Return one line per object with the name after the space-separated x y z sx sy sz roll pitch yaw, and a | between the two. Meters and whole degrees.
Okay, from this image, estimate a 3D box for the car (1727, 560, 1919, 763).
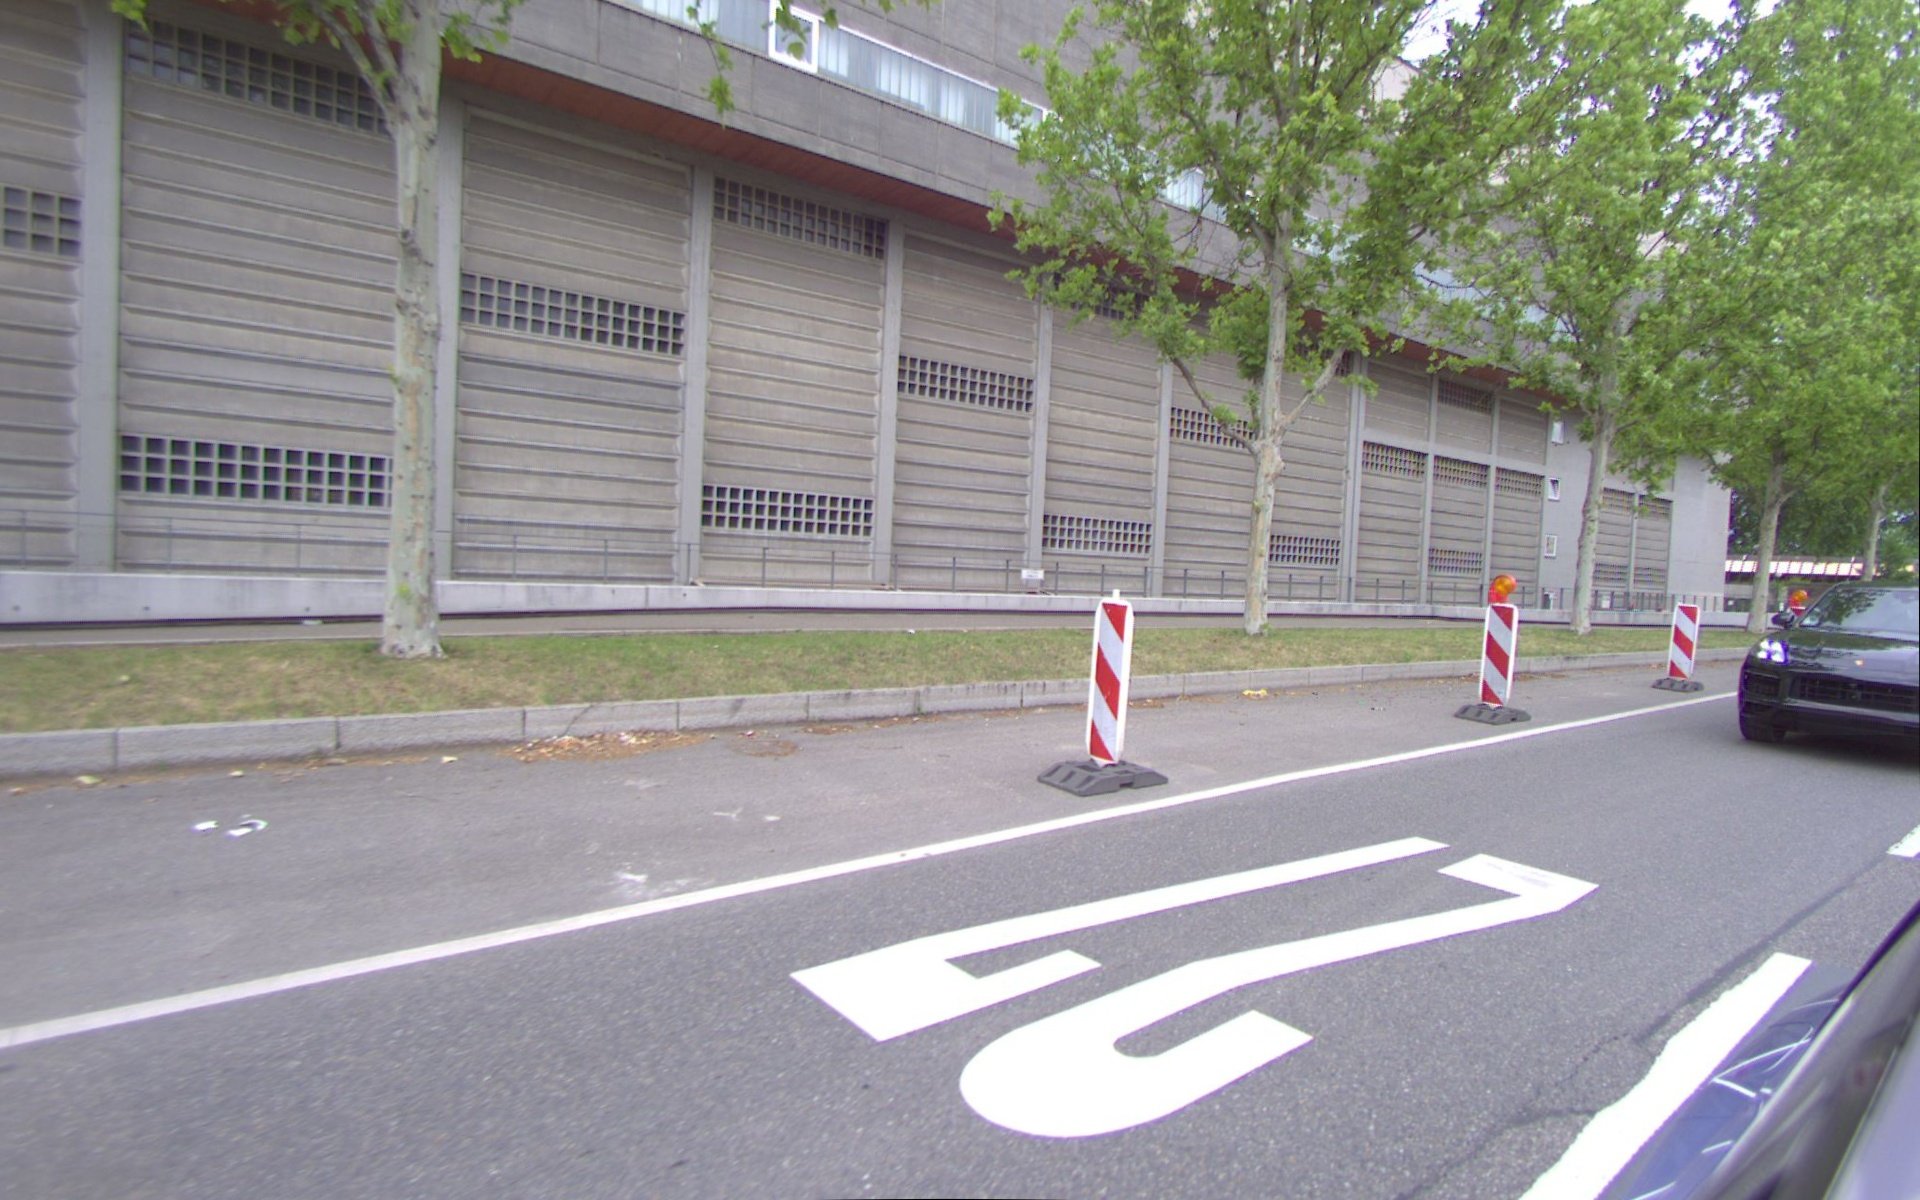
9.752 0.511 10.200 4.522 1.667 1.958 0 4 -37 | car

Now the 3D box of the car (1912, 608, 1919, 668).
19.733 0.565 19.071 4.194 1.525 1.957 0 6 -39 | car
